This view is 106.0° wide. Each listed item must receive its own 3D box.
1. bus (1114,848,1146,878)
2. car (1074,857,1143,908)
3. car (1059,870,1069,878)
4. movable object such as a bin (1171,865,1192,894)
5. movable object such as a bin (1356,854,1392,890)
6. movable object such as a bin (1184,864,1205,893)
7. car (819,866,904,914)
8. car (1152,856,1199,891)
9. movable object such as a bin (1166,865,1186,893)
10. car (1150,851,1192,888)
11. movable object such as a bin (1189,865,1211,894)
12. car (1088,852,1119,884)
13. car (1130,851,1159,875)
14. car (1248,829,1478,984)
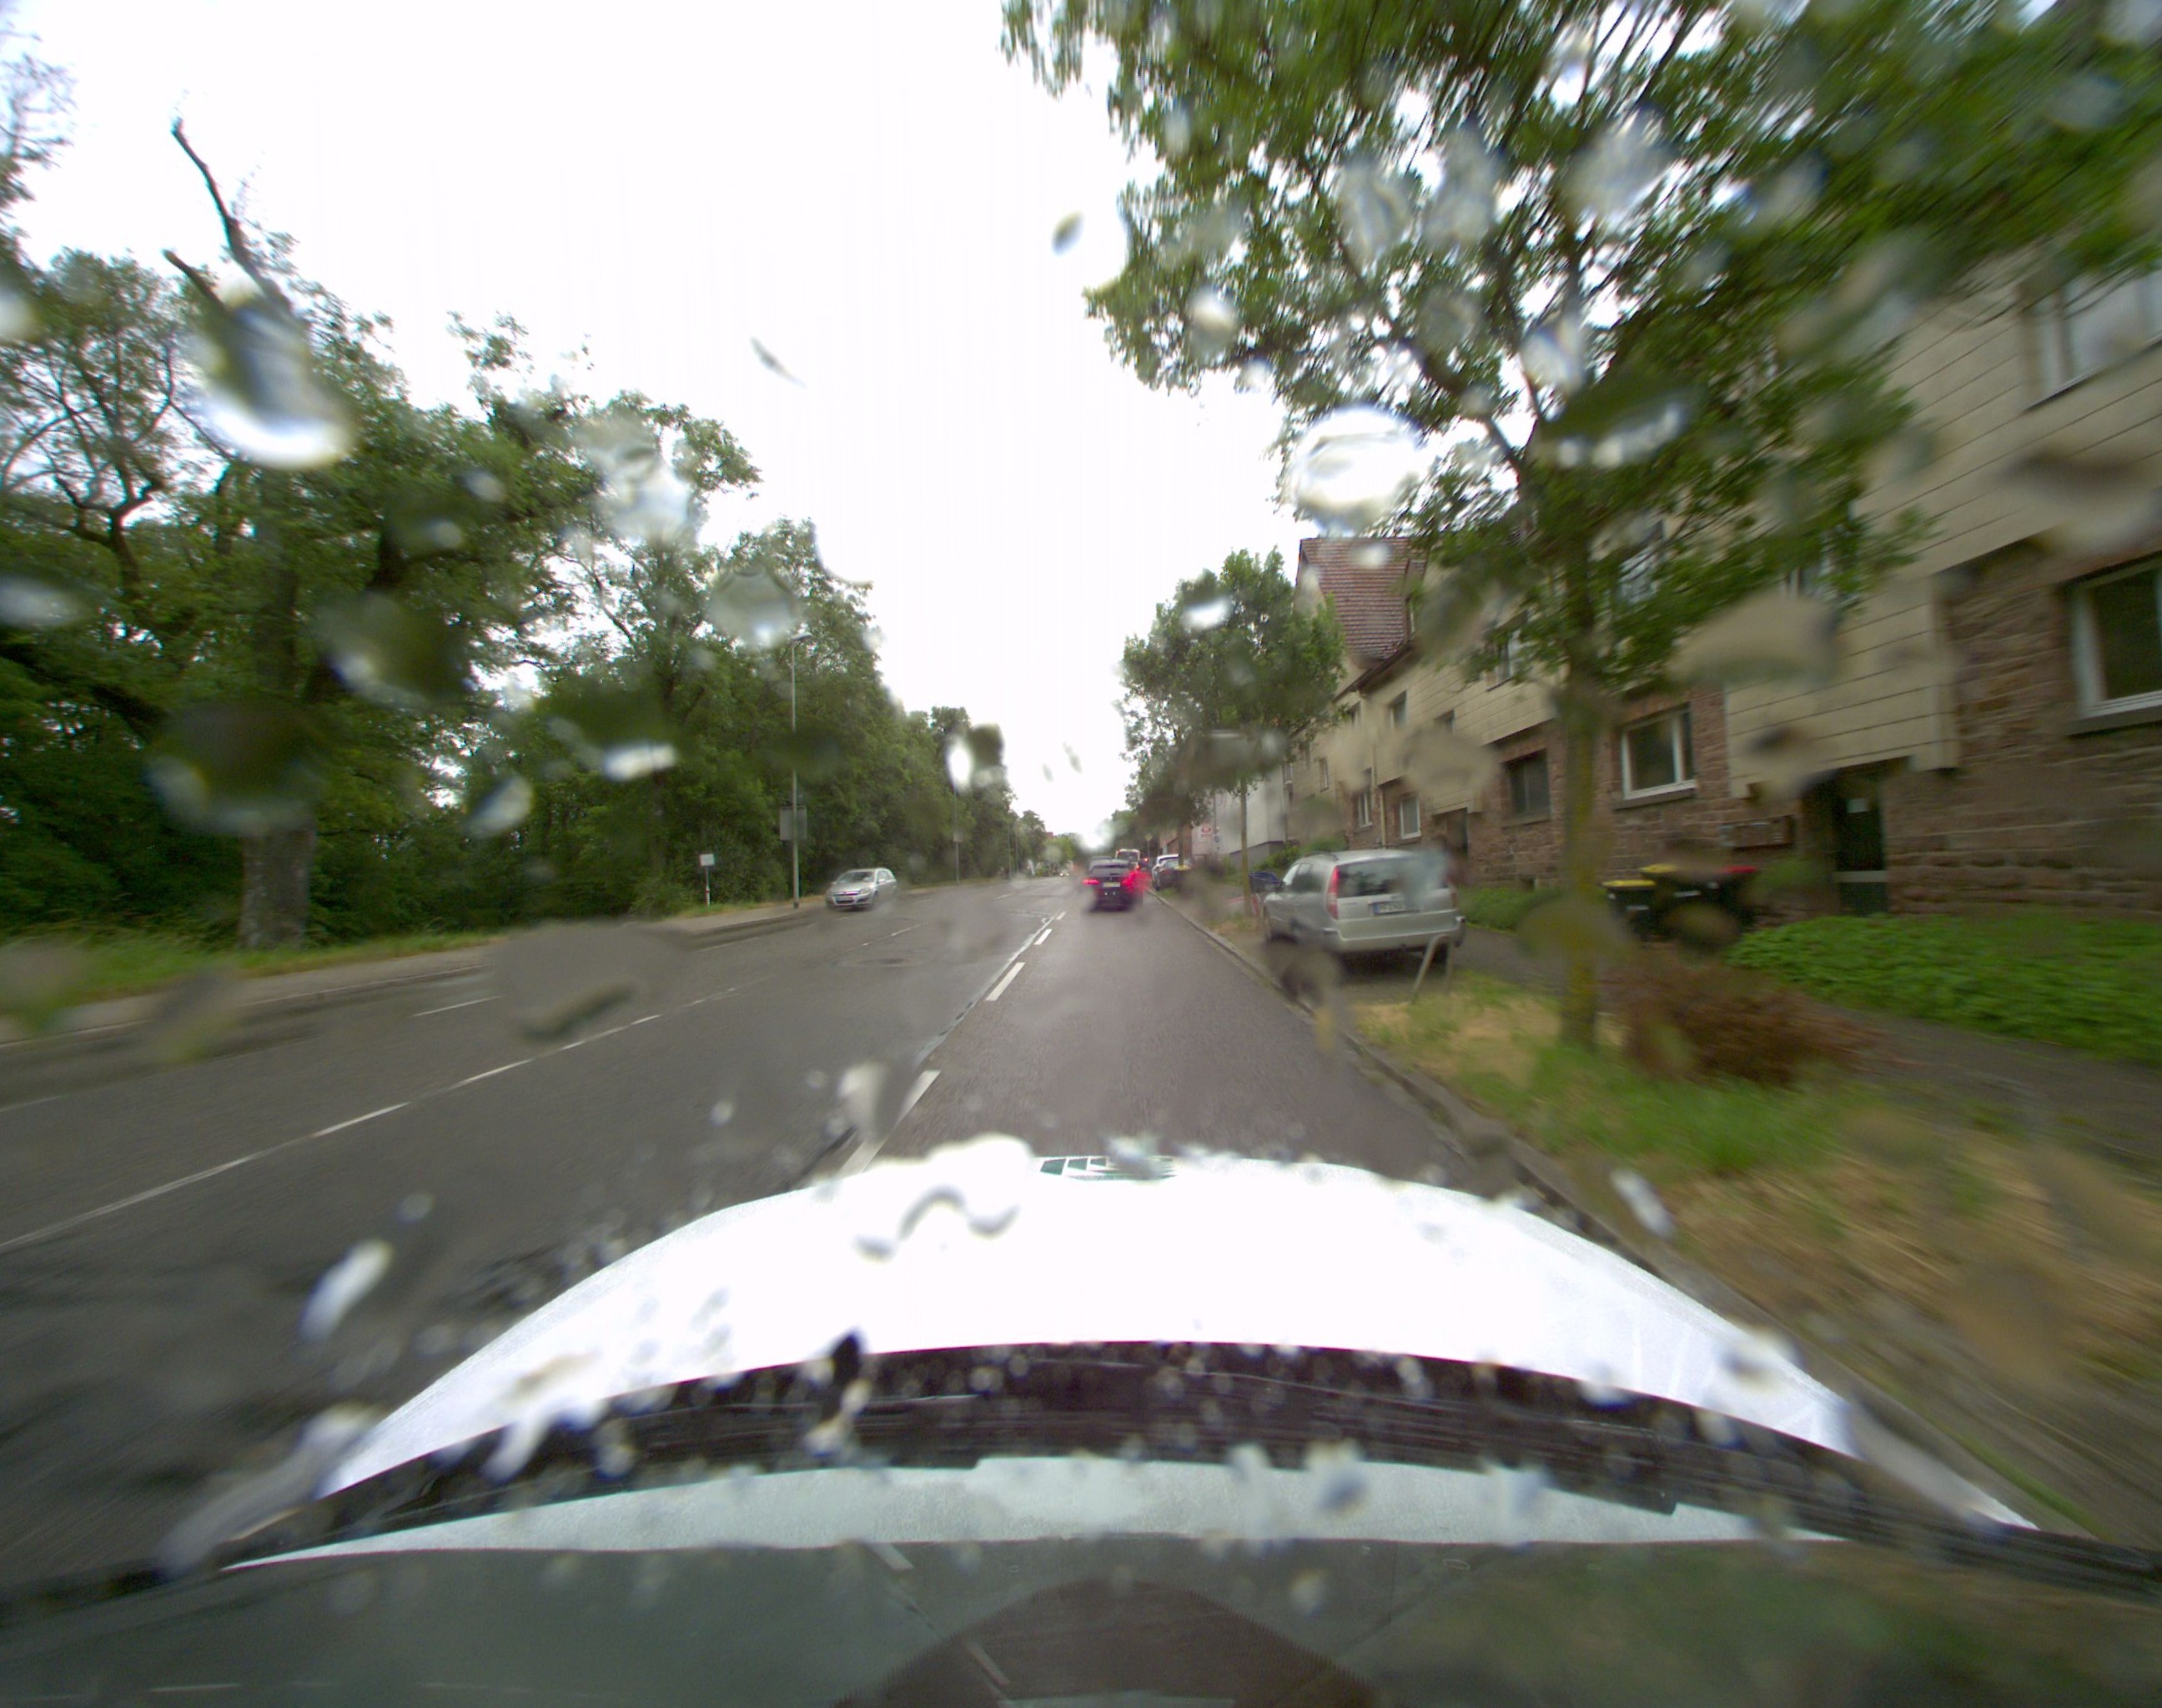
[{"bbox_3d":[5.187,0.854,85.410,2.609,2.847,8.305,-3,0,7],"label":"bus"},{"bbox_3d":[0.895,0.836,25.464,1.985,1.453,4.003,0,0,3],"label":"car"},{"bbox_3d":[-3.675,4.276,174.613,1.763,1.533,4.001,-3,0,2],"label":"car"},{"bbox_3d":[3.860,0.979,31.404,0.617,1.050,0.822,-4,0,-1],"label":"movable object such as a bin"},{"bbox_3d":[8.179,0.490,22.757,0.697,0.965,0.942,-1,0,2],"label":"movable object such as a bin"},{"bbox_3d":[4.499,0.965,32.297,0.617,1.050,0.822,-4,0,-1],"label":"movable object such as a bin"},{"bbox_3d":[-7.902,1.247,29.720,1.683,1.483,4.454,-4,0,2],"label":"car"},{"bbox_3d":[4.249,0.849,37.180,1.636,1.448,3.998,-2,-1,0],"label":"car"},{"bbox_3d":[3.763,0.974,32.305,0.617,1.050,0.822,-4,0,-1],"label":"movable object such as a bin"},{"bbox_3d":[4.634,0.771,42.509,1.817,1.772,4.544,-3,0,3],"label":"car"},{"bbox_3d":[4.588,0.970,31.372,0.617,1.050,0.822,-4,0,-1],"label":"movable object such as a bin"},{"bbox_3d":[1.550,0.938,55.147,1.986,2.014,4.002,-2,-1,2],"label":"car"},{"bbox_3d":[5.778,0.821,73.864,1.915,1.892,4.774,-6,-2,10],"label":"car"},{"bbox_3d":[3.651,0.566,11.487,1.695,1.584,4.646,-6,0,3],"label":"car"}]
